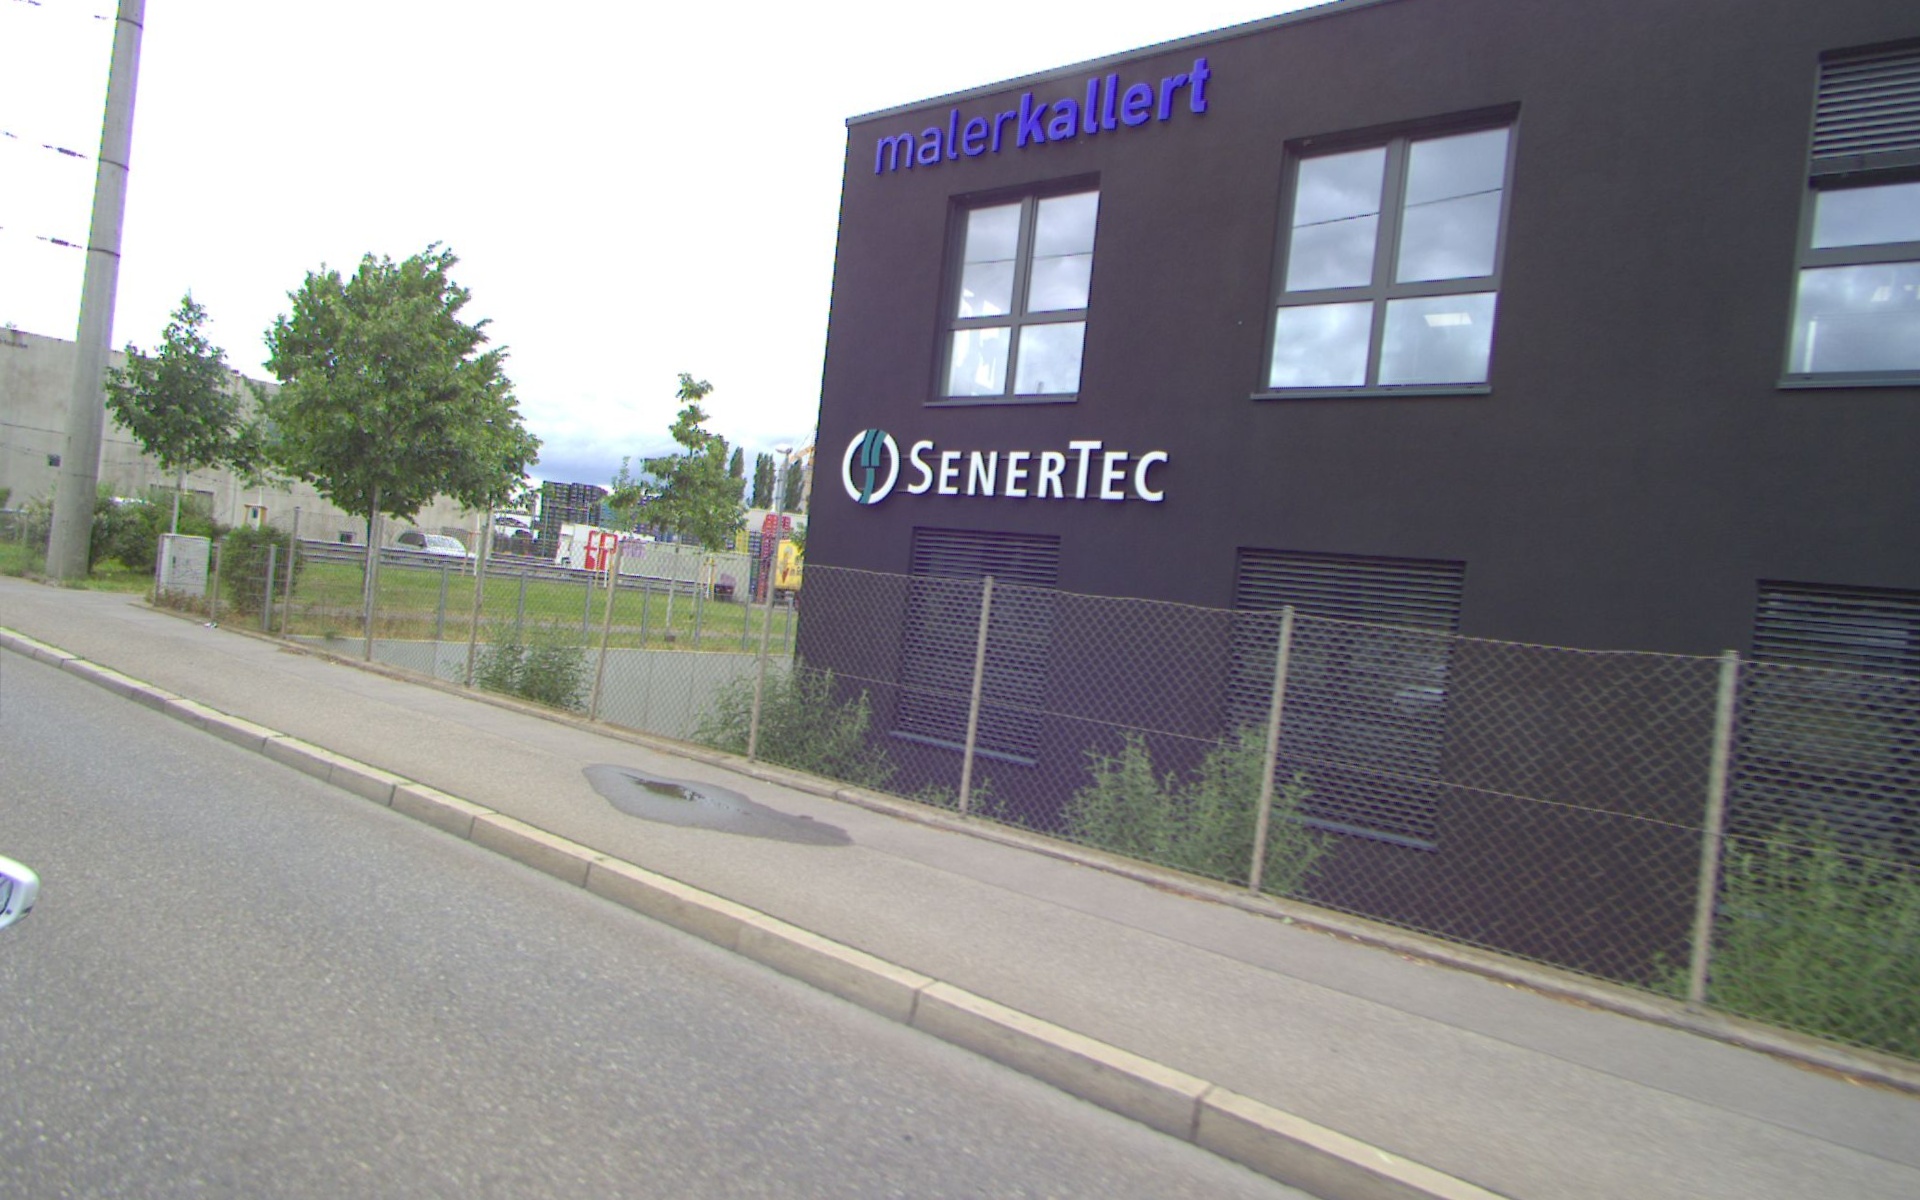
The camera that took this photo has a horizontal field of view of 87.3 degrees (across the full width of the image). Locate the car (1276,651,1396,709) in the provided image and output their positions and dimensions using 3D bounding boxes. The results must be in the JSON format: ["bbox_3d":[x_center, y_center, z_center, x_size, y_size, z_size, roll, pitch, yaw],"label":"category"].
[{"bbox_3d":[14.354,3.036,38.727,1.970,1.604,4.360,6,0,-17],"label":"car"}]

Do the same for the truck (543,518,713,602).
[{"bbox_3d":[-16.920,-1.964,51.629,7.715,3.071,2.326,10,-3,-39],"label":"truck"}]

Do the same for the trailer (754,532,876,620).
[{"bbox_3d":[-8.037,-1.456,54.063,2.885,4.013,9.948,6,1,-28],"label":"trailer"}]

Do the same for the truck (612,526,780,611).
[{"bbox_3d":[-13.158,-1.531,50.778,2.589,3.071,7.735,5,-3,44],"label":"truck"}]

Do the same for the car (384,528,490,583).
[{"bbox_3d":[-20.913,-1.790,40.137,4.618,1.742,1.910,7,0,38],"label":"car"}]
